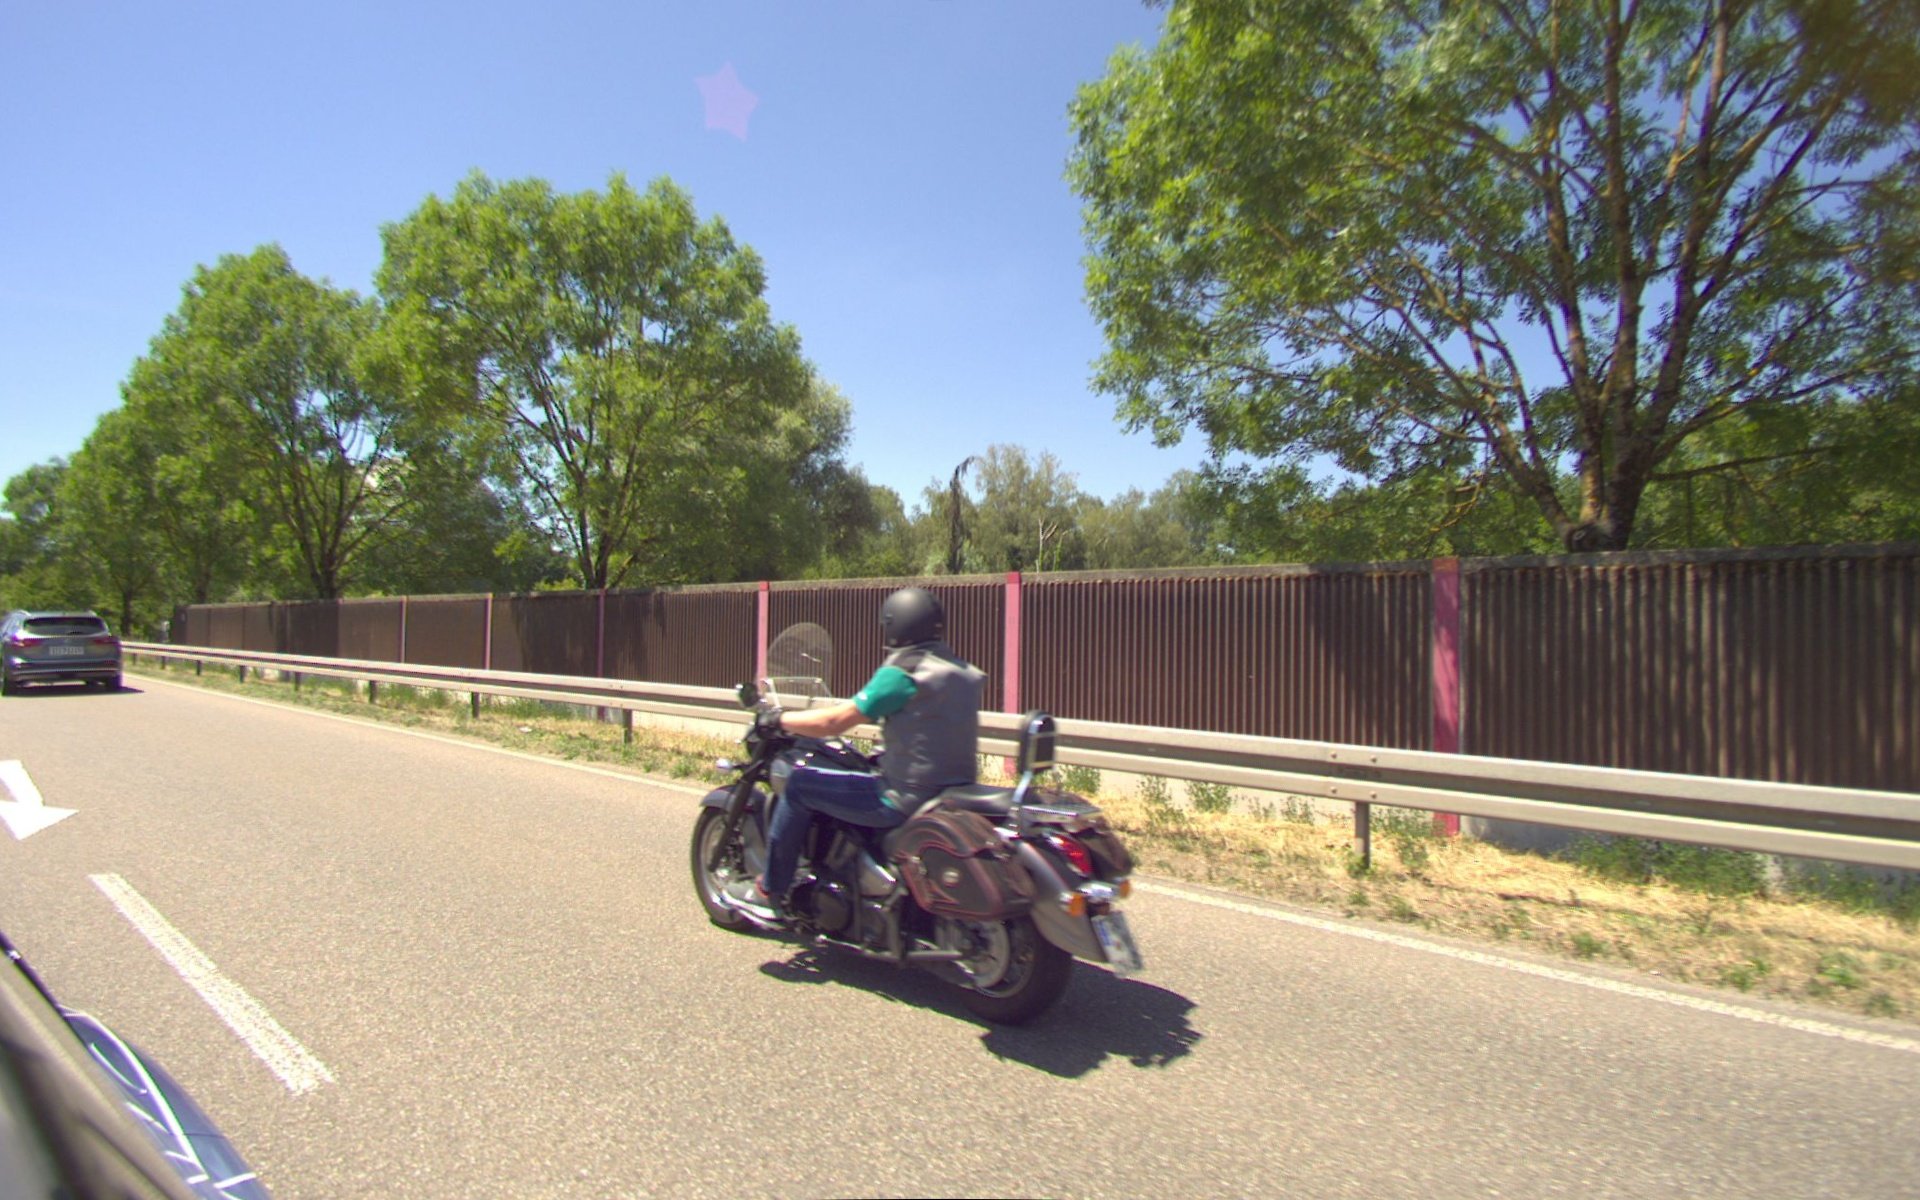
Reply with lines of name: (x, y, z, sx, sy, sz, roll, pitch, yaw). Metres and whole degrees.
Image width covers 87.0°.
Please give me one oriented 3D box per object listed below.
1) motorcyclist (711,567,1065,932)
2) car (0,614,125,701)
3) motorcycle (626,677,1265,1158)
motorcyclist: (-0.264, 0.465, 3.831, 0.927, 1.139, 0.928, -1, 1, 41)
car: (-18.177, 1.067, 20.103, 4.388, 1.537, 1.771, -1, -2, 41)
motorcycle: (-0.185, 0.909, 3.760, 2.334, 1.117, 0.944, -1, -1, 41)
